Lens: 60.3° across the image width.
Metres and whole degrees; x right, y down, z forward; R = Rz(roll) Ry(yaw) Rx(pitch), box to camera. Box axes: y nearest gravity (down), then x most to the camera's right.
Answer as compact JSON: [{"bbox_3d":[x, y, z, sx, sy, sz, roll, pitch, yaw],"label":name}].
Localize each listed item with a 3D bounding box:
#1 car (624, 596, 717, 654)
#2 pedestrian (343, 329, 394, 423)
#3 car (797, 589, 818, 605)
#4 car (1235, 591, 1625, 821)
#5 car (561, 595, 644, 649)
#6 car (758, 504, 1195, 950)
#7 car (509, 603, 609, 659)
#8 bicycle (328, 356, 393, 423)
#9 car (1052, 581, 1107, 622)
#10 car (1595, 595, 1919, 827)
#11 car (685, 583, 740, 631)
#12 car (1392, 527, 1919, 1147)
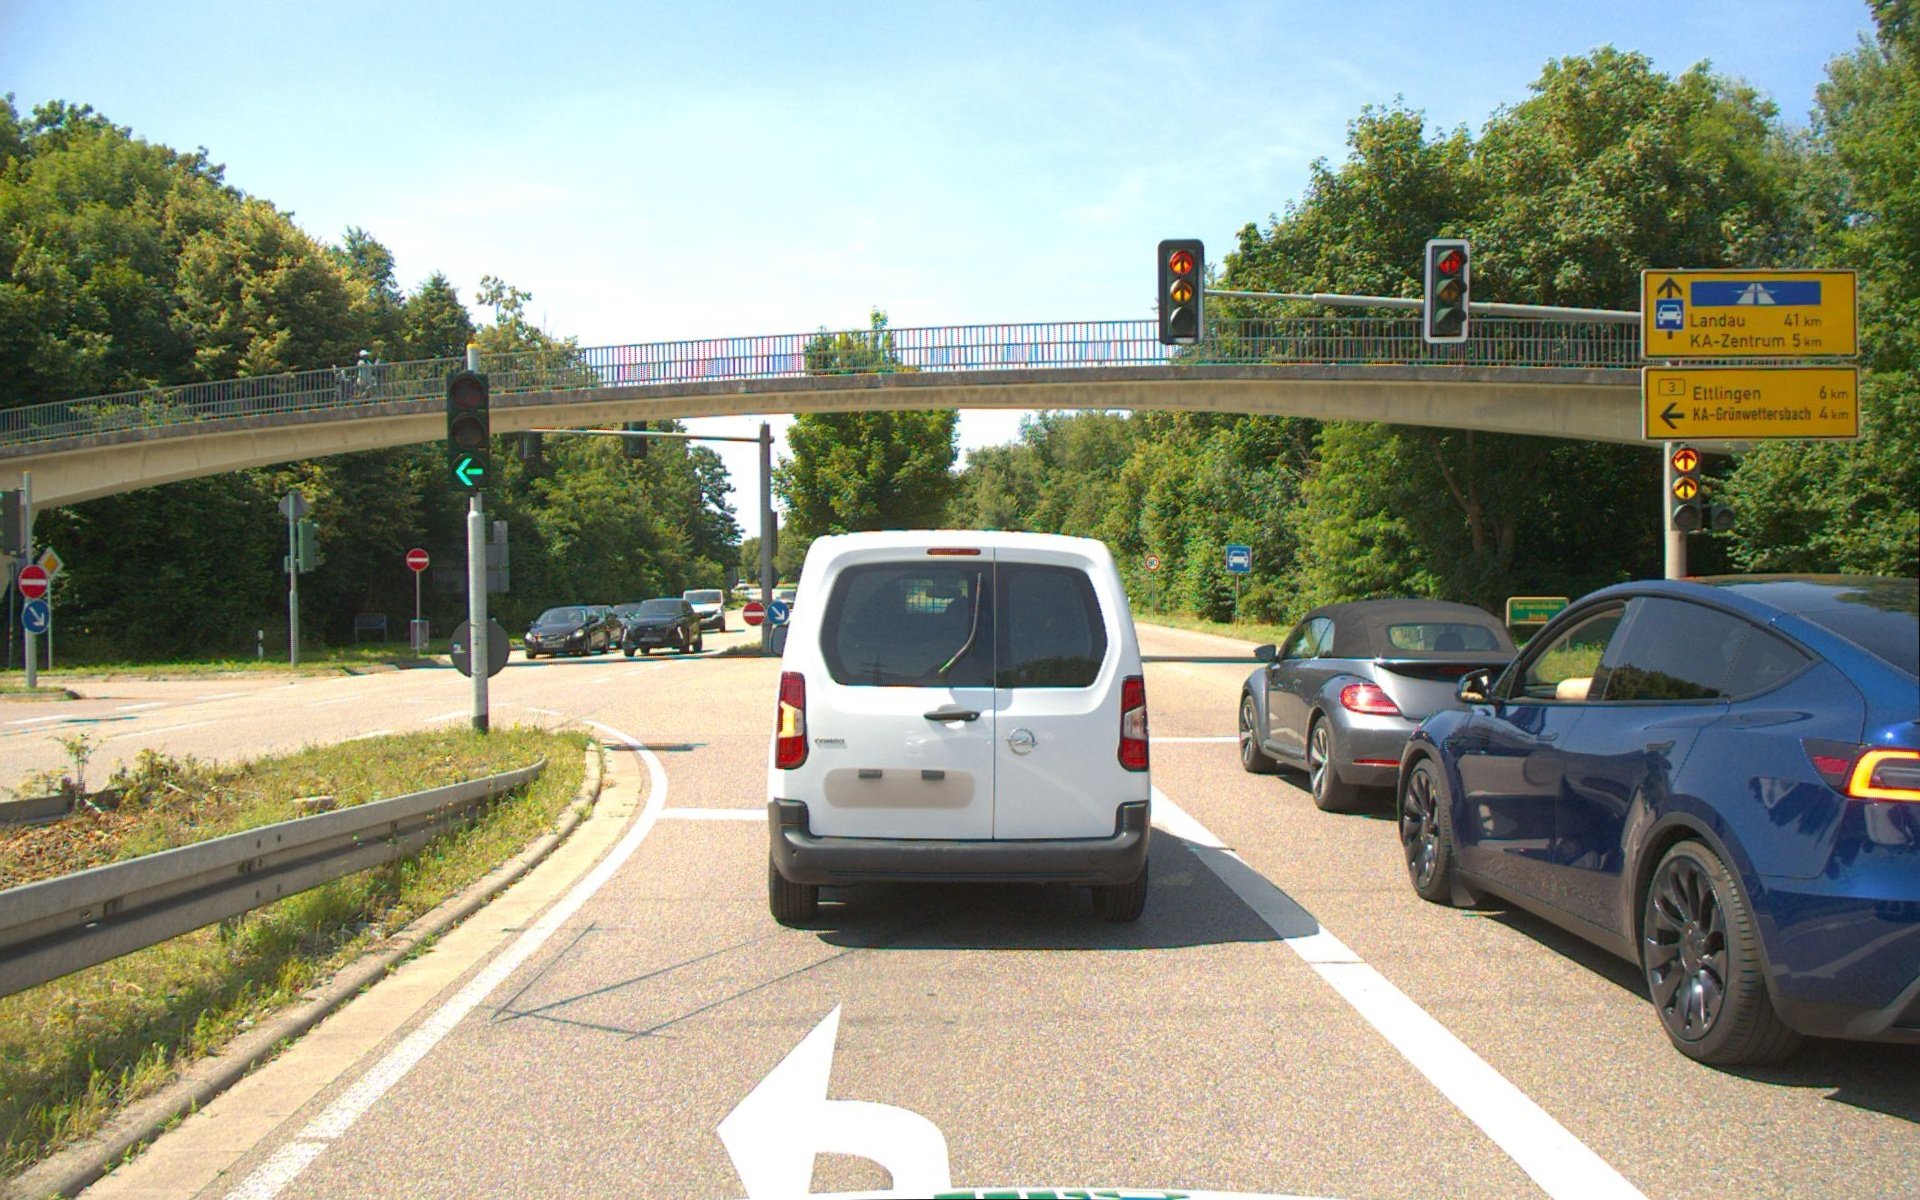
[{"bbox_3d":[-8.041,0.668,46.293,1.953,1.550,4.027,-1,0,-1],"label":"car"},{"bbox_3d":[-14.941,-5.645,41.788,0.765,2.177,0.932,-3,-2,15],"label":"pedestrian"},{"bbox_3d":[-16.700,-0.290,181.183,1.967,1.629,4.054,-2,0,-1],"label":"car"},{"bbox_3d":[3.452,0.692,12.950,1.862,1.503,3.938,1,0,-1],"label":"car"},{"bbox_3d":[-11.972,0.706,55.687,1.953,1.694,3.999,-1,0,-1],"label":"car"},{"bbox_3d":[0.015,0.506,8.935,1.812,1.857,3.980,1,1,-2],"label":"car"},{"bbox_3d":[-11.720,0.875,48.589,1.967,1.486,4.054,-2,0,-1],"label":"car"},{"bbox_3d":[-15.078,-5.292,41.587,1.494,1.500,0.470,-3,-2,15],"label":"bicycle"},{"bbox_3d":[5.172,0.036,71.954,2.000,1.728,5.086,-1,1,0],"label":"car"},{"bbox_3d":[6.823,0.735,13.060,1.862,1.503,4.379,1,0,-1],"label":"car"},{"bbox_3d":[-11.286,0.294,75.657,2.166,2.028,5.481,-2,0,-6],"label":"car"},{"bbox_3d":[3.323,0.639,6.746,1.862,1.673,4.519,1,0,-1],"label":"car"}]
